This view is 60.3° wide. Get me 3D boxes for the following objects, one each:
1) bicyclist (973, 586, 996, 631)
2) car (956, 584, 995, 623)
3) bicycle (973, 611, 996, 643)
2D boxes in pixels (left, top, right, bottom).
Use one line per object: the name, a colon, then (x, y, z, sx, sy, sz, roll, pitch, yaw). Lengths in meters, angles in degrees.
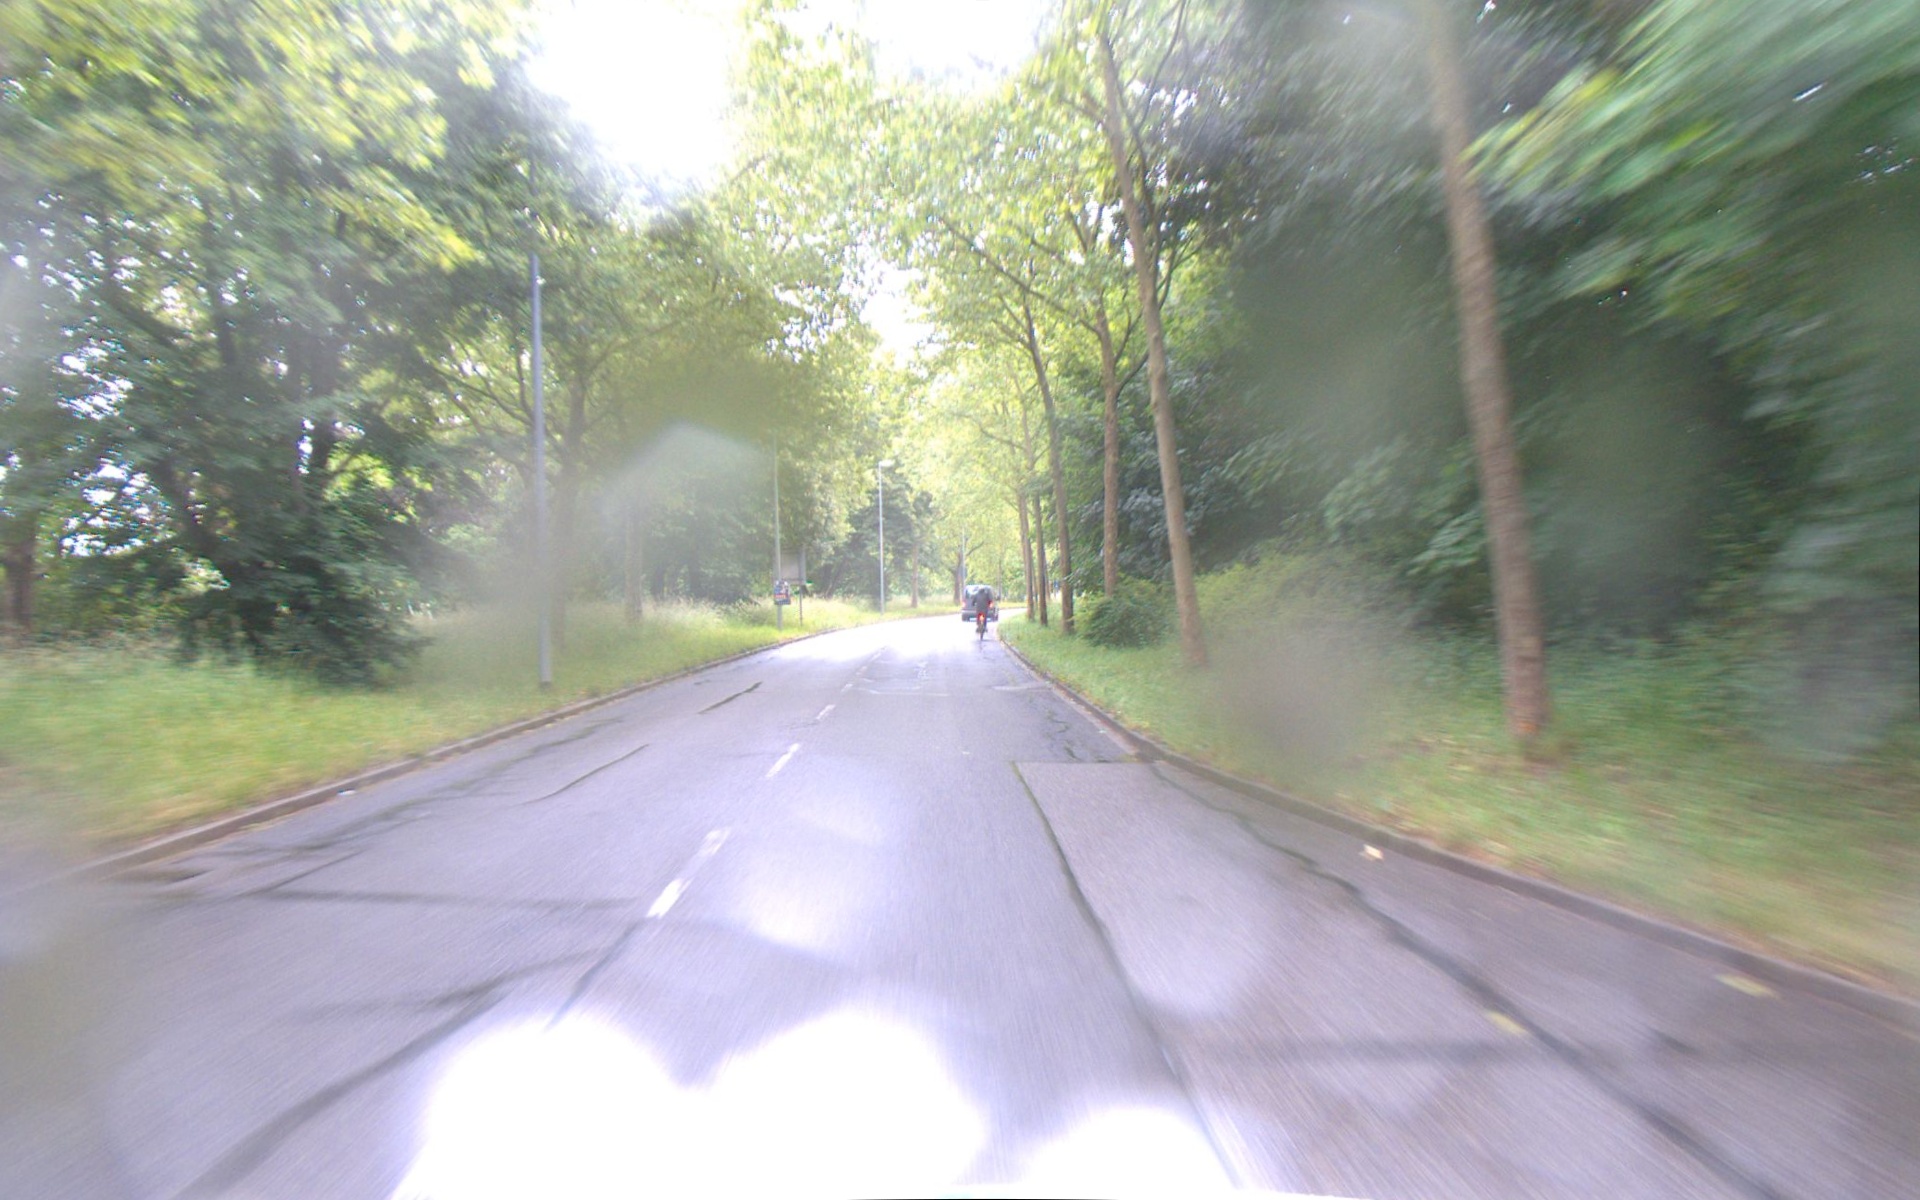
bicyclist: (0.802, 0.275, 53.676, 0.714, 1.435, 0.973, 0, 0, 2)
car: (0.819, 0.188, 86.504, 1.944, 1.959, 4.000, -1, 0, 1)
bicycle: (0.810, 0.861, 53.934, 0.714, 0.991, 2.173, 0, 0, 2)
